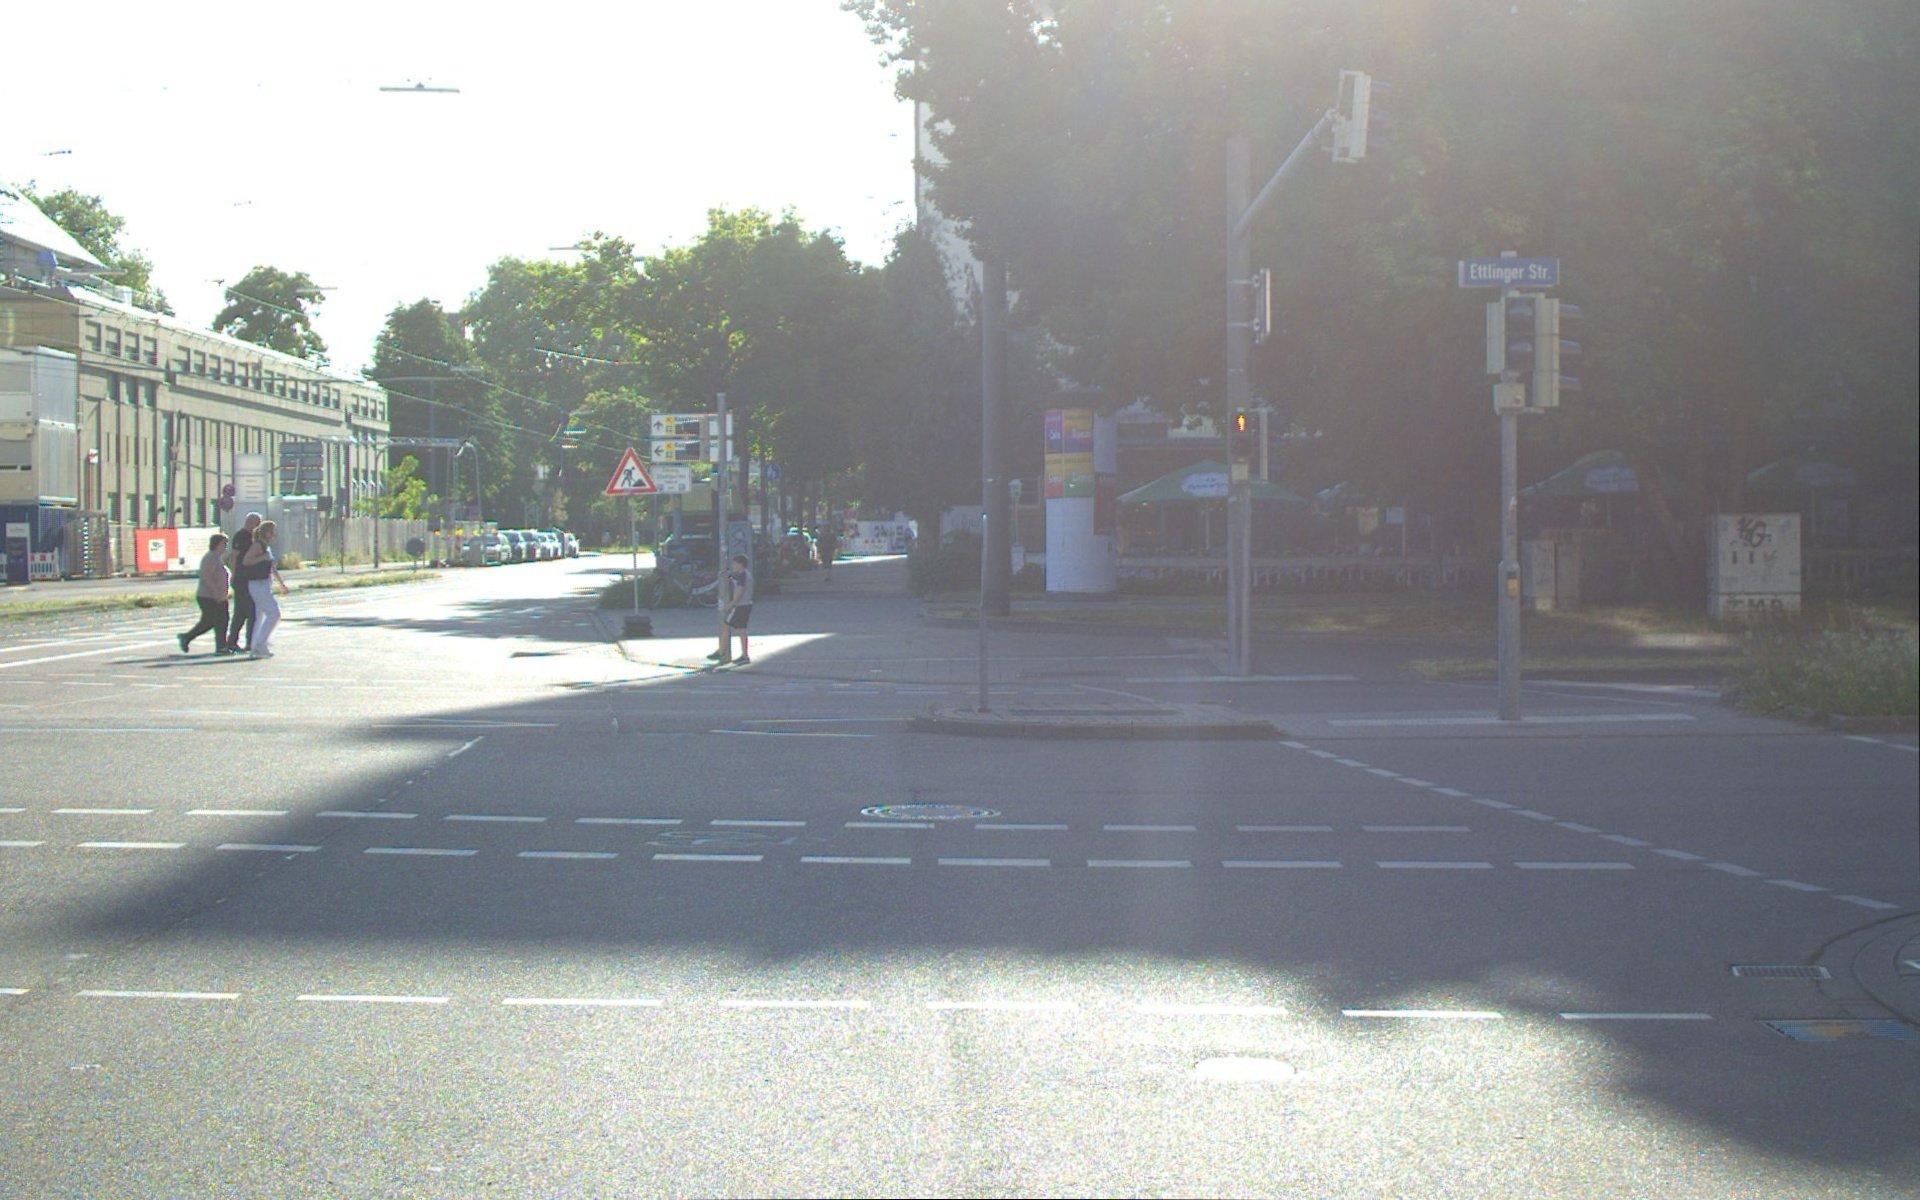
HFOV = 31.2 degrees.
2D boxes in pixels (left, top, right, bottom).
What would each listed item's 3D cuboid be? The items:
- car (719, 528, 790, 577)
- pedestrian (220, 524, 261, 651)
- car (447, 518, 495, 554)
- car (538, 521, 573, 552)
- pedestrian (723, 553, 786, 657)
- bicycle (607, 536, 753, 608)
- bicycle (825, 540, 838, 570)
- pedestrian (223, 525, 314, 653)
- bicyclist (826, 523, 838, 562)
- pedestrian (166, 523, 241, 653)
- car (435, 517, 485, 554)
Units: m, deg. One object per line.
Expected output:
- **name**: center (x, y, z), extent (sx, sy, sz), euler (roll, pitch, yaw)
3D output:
- **car**: center (-5.473, -1.282, 91.832), extent (1.819, 1.274, 4.001), euler (0, 1, -3)
- **pedestrian**: center (-9.408, -0.165, 44.954), extent (0.441, 1.657, 0.376), euler (-1, 1, -1)
- **car**: center (-22.766, -2.980, 160.150), extent (1.731, 1.647, 4.000), euler (0, 1, -1)
- **car**: center (-22.827, -3.577, 194.111), extent (1.483, 1.744, 4.000), euler (-1, 1, -1)
- **pedestrian**: center (-2.647, 0.057, 44.296), extent (0.752, 1.328, 0.742), euler (0, 1, 1)
- **bicycle**: center (-5.469, -0.550, 67.141), extent (2.748, 1.363, 0.630), euler (1, 0, 11)
- **bicycle**: center (-3.724, -1.310, 99.673), extent (0.324, 0.865, 1.483), euler (-1, 1, -1)
- **pedestrian**: center (-8.655, -0.143, 43.037), extent (0.984, 1.582, 0.660), euler (0, 0, 1)
- **bicyclist**: center (-3.711, -1.671, 99.575), extent (0.318, 1.123, 0.291), euler (-1, 1, -1)
- **pedestrian**: center (-9.584, -0.158, 43.571), extent (0.795, 1.634, 0.533), euler (0, 1, 2)
- **car**: center (-22.682, -2.916, 156.044), extent (1.731, 1.647, 4.000), euler (0, 1, -1)
